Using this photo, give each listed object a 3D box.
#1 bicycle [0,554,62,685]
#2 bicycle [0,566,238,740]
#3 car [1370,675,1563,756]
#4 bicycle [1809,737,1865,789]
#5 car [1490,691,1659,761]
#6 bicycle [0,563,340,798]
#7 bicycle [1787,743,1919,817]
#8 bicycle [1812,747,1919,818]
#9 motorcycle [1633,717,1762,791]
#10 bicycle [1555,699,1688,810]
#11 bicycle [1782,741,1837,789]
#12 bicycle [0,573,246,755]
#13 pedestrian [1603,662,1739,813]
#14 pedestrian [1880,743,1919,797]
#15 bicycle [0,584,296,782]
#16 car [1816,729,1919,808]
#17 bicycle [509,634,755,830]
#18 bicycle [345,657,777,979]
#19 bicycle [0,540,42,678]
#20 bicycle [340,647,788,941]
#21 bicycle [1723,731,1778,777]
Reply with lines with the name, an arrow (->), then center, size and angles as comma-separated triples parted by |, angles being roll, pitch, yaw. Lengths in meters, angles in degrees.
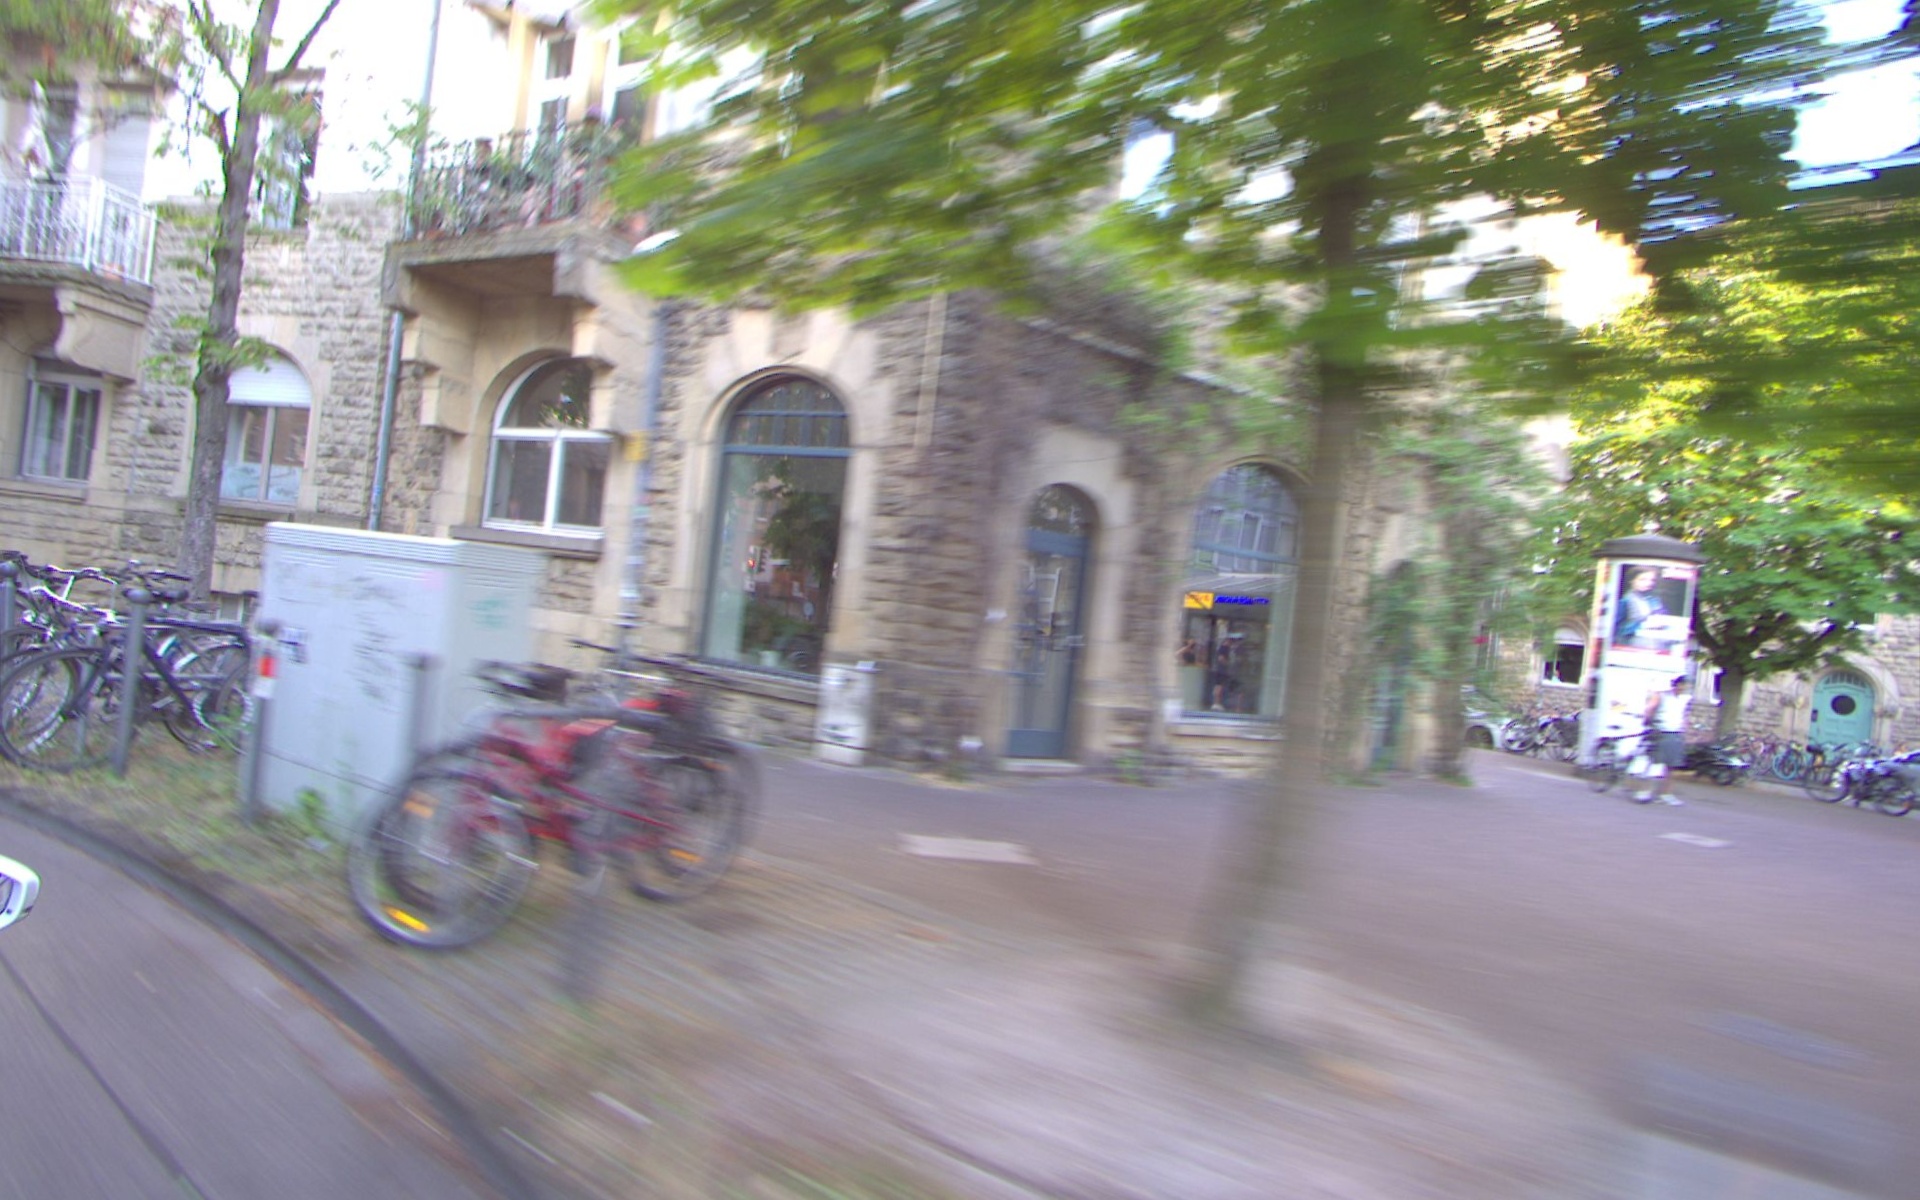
bicycle -> -8.302, 0.125, 7.925 | 0.439, 1.076, 1.797 | 6, -1, 17
bicycle -> -6.046, 0.365, 7.016 | 0.411, 1.089, 1.608 | 6, -1, 20
car -> 12.676, 2.869, 25.386 | 1.808, 1.500, 3.876 | 7, -3, -32
bicycle -> 22.049, 4.102, 25.276 | 1.818, 1.152, 0.585 | 8, -1, -36
car -> 18.341, 3.744, 30.180 | 1.809, 1.500, 3.874 | 7, -3, -34
bicycle -> -4.668, 0.451, 5.929 | 0.545, 1.162, 1.607 | 6, -1, 25
bicycle -> 16.319, 3.260, 18.354 | 0.573, 1.008, 1.725 | 6, 0, -31
bicycle -> 17.017, 3.374, 18.640 | 0.573, 1.008, 1.725 | 6, 0, -31
motorcycle -> 13.913, 2.885, 19.030 | 0.573, 1.066, 1.818 | 6, 0, -31
bicycle -> 9.029, 2.072, 13.837 | 0.623, 1.202, 1.915 | 7, 0, 7
bicycle -> 21.673, 4.218, 25.653 | 1.818, 1.090, 0.585 | 8, -1, -36
bicycle -> -5.769, 0.416, 6.707 | 0.411, 1.076, 1.608 | 6, -1, 20
pedestrian -> 9.565, 1.814, 13.587 | 0.962, 1.811, 1.006 | 7, 1, 7
pedestrian -> 24.571, 4.401, 26.001 | 0.815, 1.241, 0.918 | 7, -1, -35
bicycle -> -5.069, 0.481, 6.111 | 0.545, 1.033, 1.607 | 6, -1, 25
car -> 21.344, 3.823, 21.628 | 1.864, 1.400, 4.007 | 7, -1, -30
bicycle -> -2.172, 0.810, 6.570 | 1.698, 0.981, 0.431 | 6, 0, 31
bicycle -> -1.550, 0.815, 4.187 | 0.425, 1.052, 1.602 | 6, -1, 37
bicycle -> -8.653, 0.029, 8.112 | 0.439, 1.182, 1.797 | 6, -1, 17
bicycle -> -1.681, 0.808, 4.627 | 0.425, 1.052, 1.893 | 6, -1, 36
bicycle -> 21.030, 4.108, 26.755 | 1.818, 1.090, 0.585 | 8, -1, -36
